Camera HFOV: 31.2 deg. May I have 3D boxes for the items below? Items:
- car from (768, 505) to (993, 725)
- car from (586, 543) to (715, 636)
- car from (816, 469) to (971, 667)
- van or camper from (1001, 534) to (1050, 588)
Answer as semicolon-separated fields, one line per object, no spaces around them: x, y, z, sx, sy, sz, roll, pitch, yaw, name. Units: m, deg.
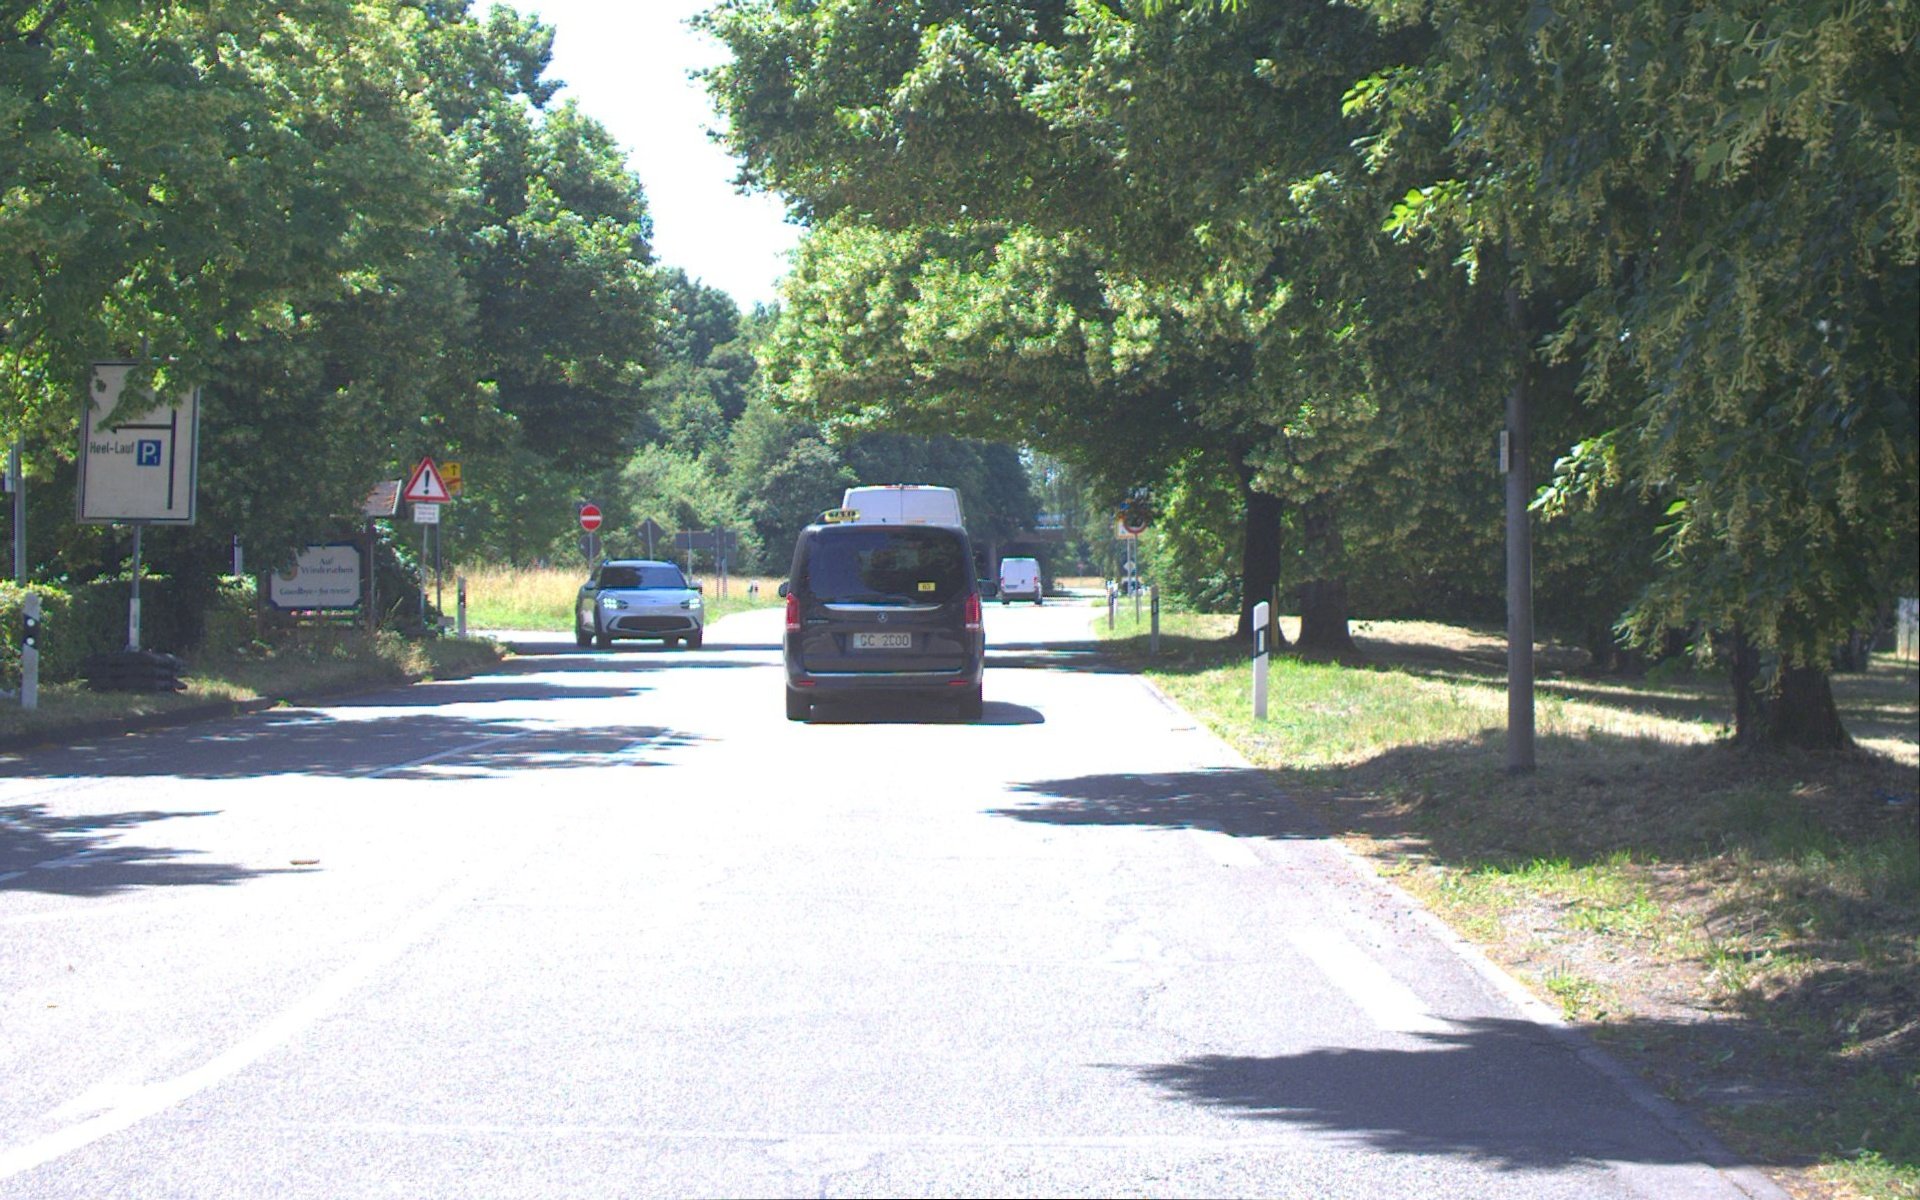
-0.719;0.109;33.770;1.993;1.946;5.005;2;1;0;car
-5.668;-0.224;62.494;2.094;1.583;4.476;1;1;-8;car
-0.918;-0.474;50.264;2.078;2.693;4.666;2;1;0;car
3.652;-2.159;191.886;2.632;2.919;5.206;1;0;0;van or camper
